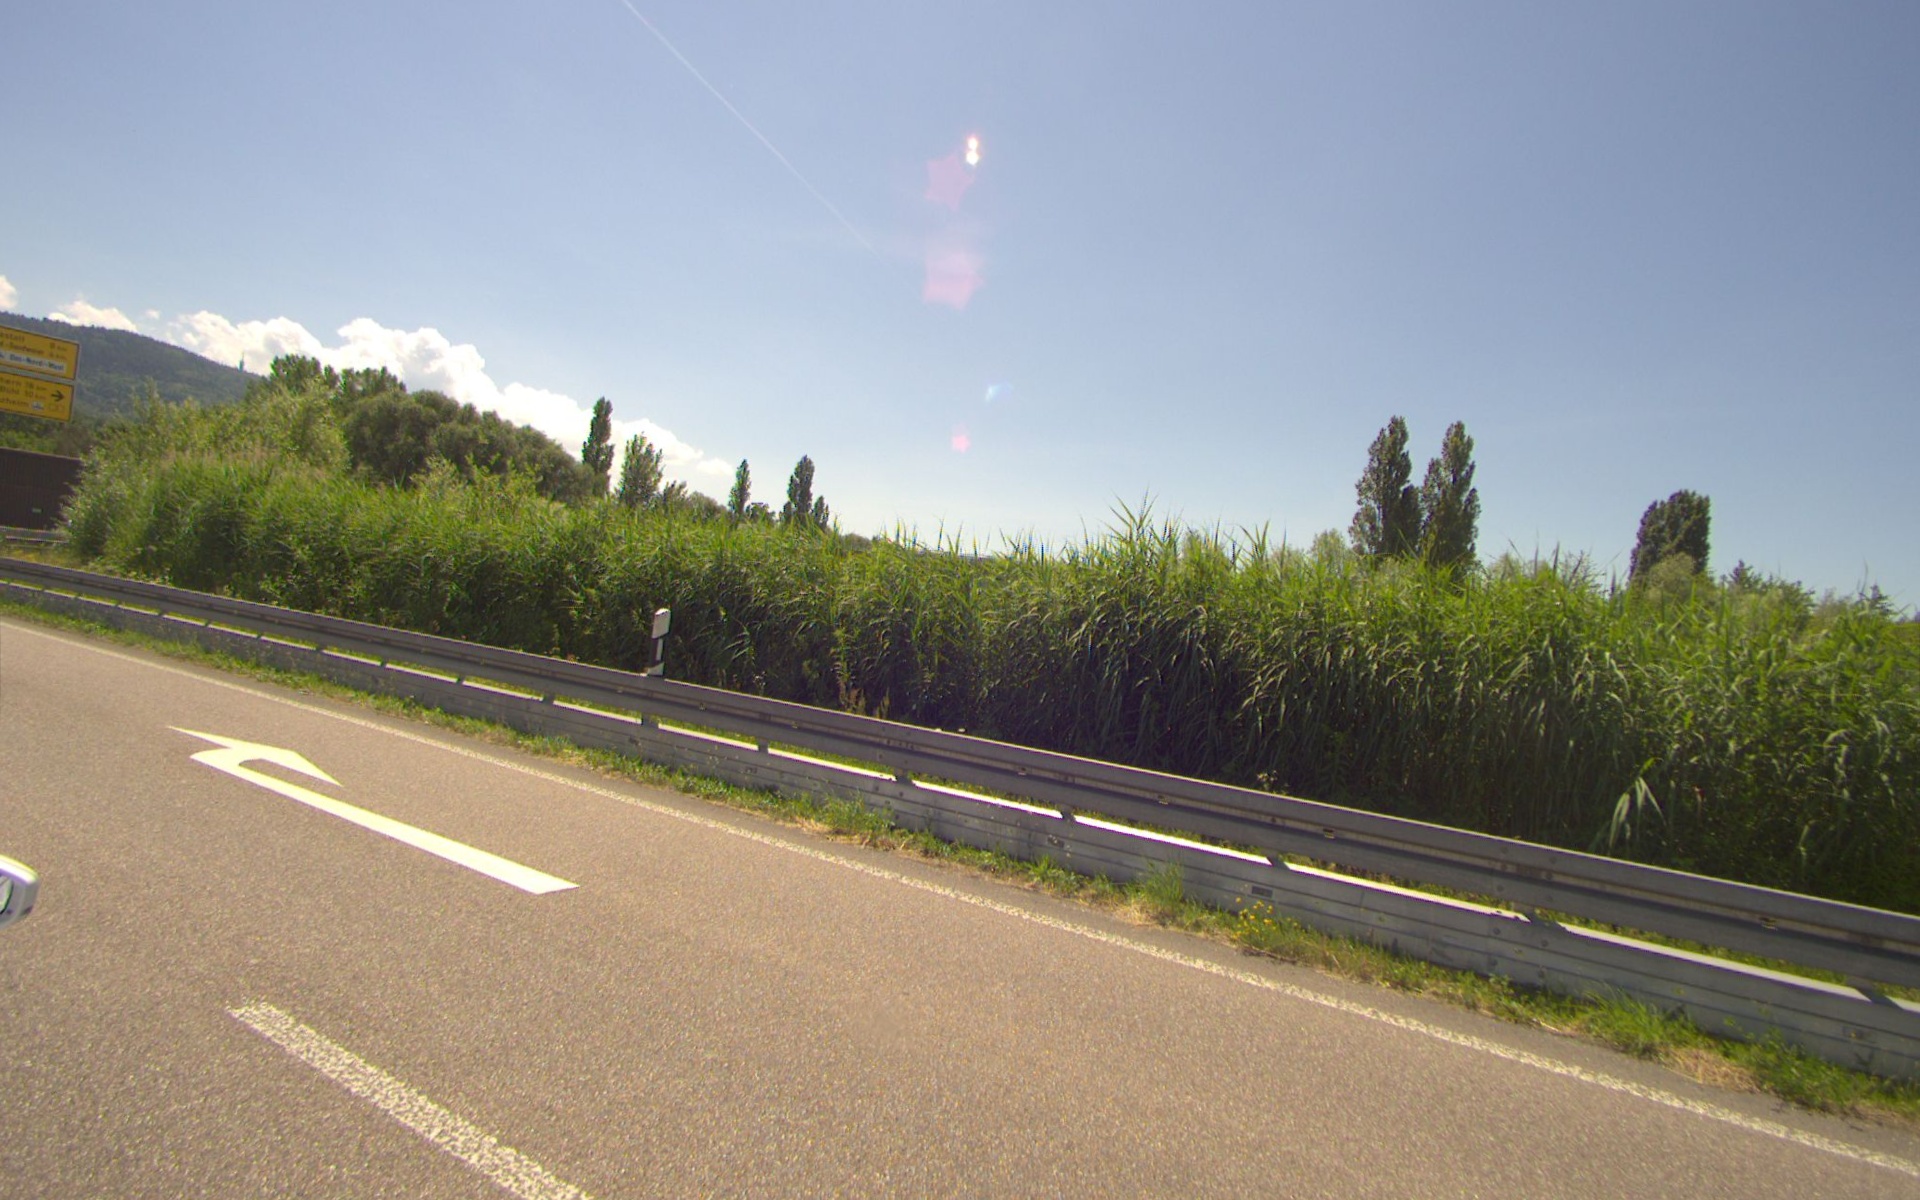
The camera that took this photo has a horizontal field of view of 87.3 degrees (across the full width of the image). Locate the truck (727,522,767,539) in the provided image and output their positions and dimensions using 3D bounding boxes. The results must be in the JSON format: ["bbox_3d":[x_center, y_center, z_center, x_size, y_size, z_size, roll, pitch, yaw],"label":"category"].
[{"bbox_3d":[-37.156,-12.107,175.444,6.553,2.255,2.623,6,-1,32],"label":"truck"}]
